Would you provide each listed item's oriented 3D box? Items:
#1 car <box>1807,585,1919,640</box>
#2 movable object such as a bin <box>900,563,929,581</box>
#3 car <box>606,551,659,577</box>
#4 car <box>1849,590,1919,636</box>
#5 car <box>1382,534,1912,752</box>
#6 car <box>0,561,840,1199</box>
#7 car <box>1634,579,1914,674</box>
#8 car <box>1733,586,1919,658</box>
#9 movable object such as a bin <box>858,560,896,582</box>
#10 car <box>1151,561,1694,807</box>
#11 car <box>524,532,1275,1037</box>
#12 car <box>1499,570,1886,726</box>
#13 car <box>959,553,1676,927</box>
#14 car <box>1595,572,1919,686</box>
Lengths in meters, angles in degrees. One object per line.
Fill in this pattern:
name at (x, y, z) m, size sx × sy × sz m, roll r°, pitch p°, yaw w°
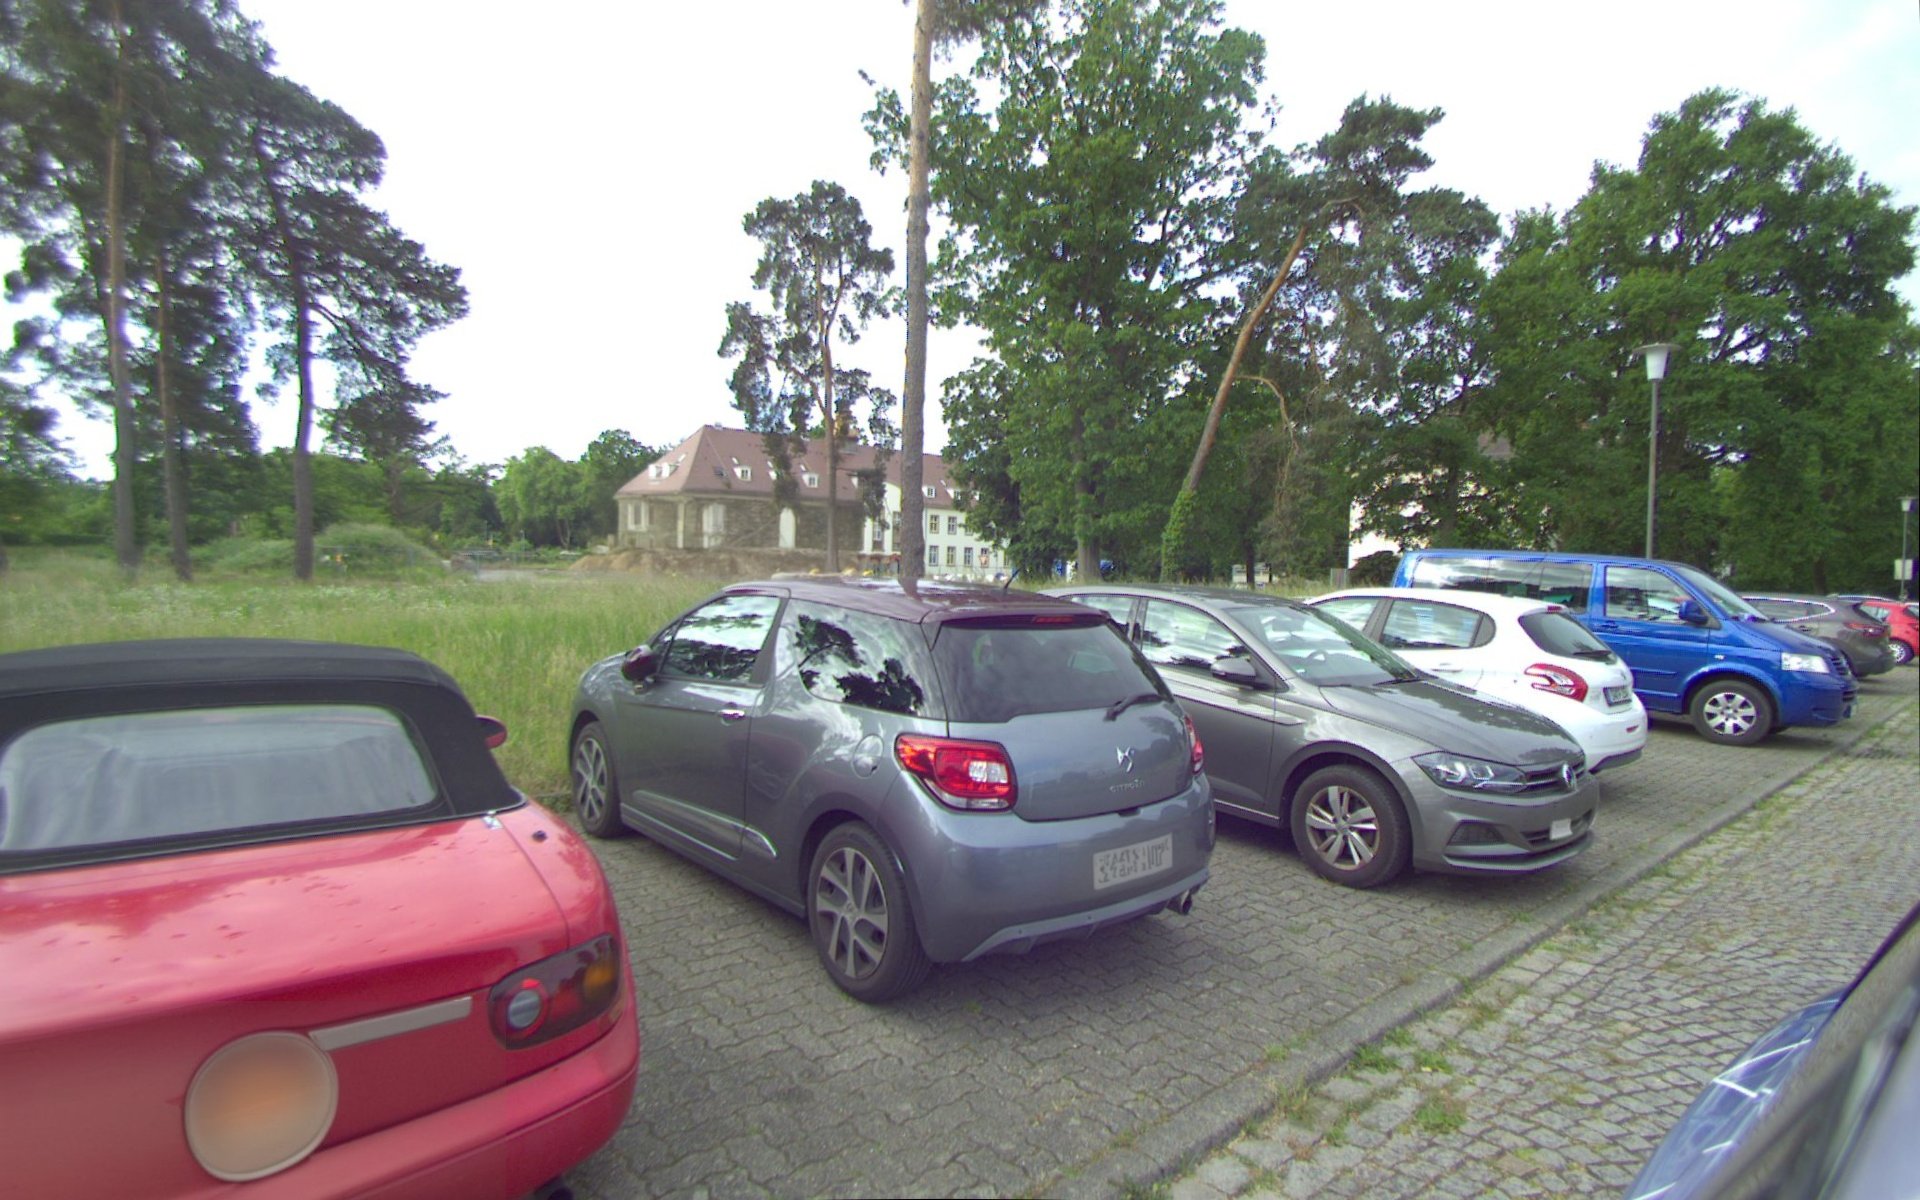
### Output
car at (29.177, 0.405, 31.455) m, size 1.555 × 1.556 × 4.147 m, roll 0°, pitch 3°, yaw -42°
movable object such as a bin at (-5.160, -3.197, 115.522) m, size 2.933 × 2.038 × 1.553 m, roll 0°, pitch 2°, yaw -41°
car at (-31.794, -3.479, 98.158) m, size 5.848 × 2.268 × 2.282 m, roll 5°, pitch 3°, yaw 42°
car at (32.808, 0.489, 34.255) m, size 1.555 × 1.443 × 3.874 m, roll 0°, pitch 3°, yaw -42°
car at (7.855, 0.288, 12.019) m, size 1.969 × 1.969 × 4.816 m, roll 0°, pitch 4°, yaw -42°
car at (-2.208, 0.597, 3.053) m, size 1.728 × 1.251 × 3.869 m, roll 0°, pitch 4°, yaw -42°
car at (15.963, 0.438, 20.009) m, size 1.735 × 1.504 × 4.015 m, roll 0°, pitch 3°, yaw -41°
car at (21.591, 0.499, 24.841) m, size 1.555 × 1.477 × 3.891 m, roll 0°, pitch 3°, yaw -42°
movable object such as a bin at (-7.881, -2.782, 96.108) m, size 3.181 × 2.038 × 1.682 m, roll 0°, pitch 2°, yaw -34°
car at (3.756, 0.507, 8.779) m, size 1.727 × 1.490 × 3.872 m, roll 0°, pitch 4°, yaw -40°
car at (-0.632, 0.477, 5.129) m, size 1.728 × 1.490 × 3.869 m, roll 0°, pitch 4°, yaw -42°
car at (9.739, 0.508, 13.686) m, size 1.810 × 1.489 × 3.871 m, roll 0°, pitch 6°, yaw -42°
car at (1.934, 0.536, 6.385) m, size 1.727 × 1.490 × 3.871 m, roll 0°, pitch 4°, yaw -41°
car at (14.082, 0.409, 18.087) m, size 1.791 × 1.618 × 4.267 m, roll 0°, pitch 3°, yaw -42°
